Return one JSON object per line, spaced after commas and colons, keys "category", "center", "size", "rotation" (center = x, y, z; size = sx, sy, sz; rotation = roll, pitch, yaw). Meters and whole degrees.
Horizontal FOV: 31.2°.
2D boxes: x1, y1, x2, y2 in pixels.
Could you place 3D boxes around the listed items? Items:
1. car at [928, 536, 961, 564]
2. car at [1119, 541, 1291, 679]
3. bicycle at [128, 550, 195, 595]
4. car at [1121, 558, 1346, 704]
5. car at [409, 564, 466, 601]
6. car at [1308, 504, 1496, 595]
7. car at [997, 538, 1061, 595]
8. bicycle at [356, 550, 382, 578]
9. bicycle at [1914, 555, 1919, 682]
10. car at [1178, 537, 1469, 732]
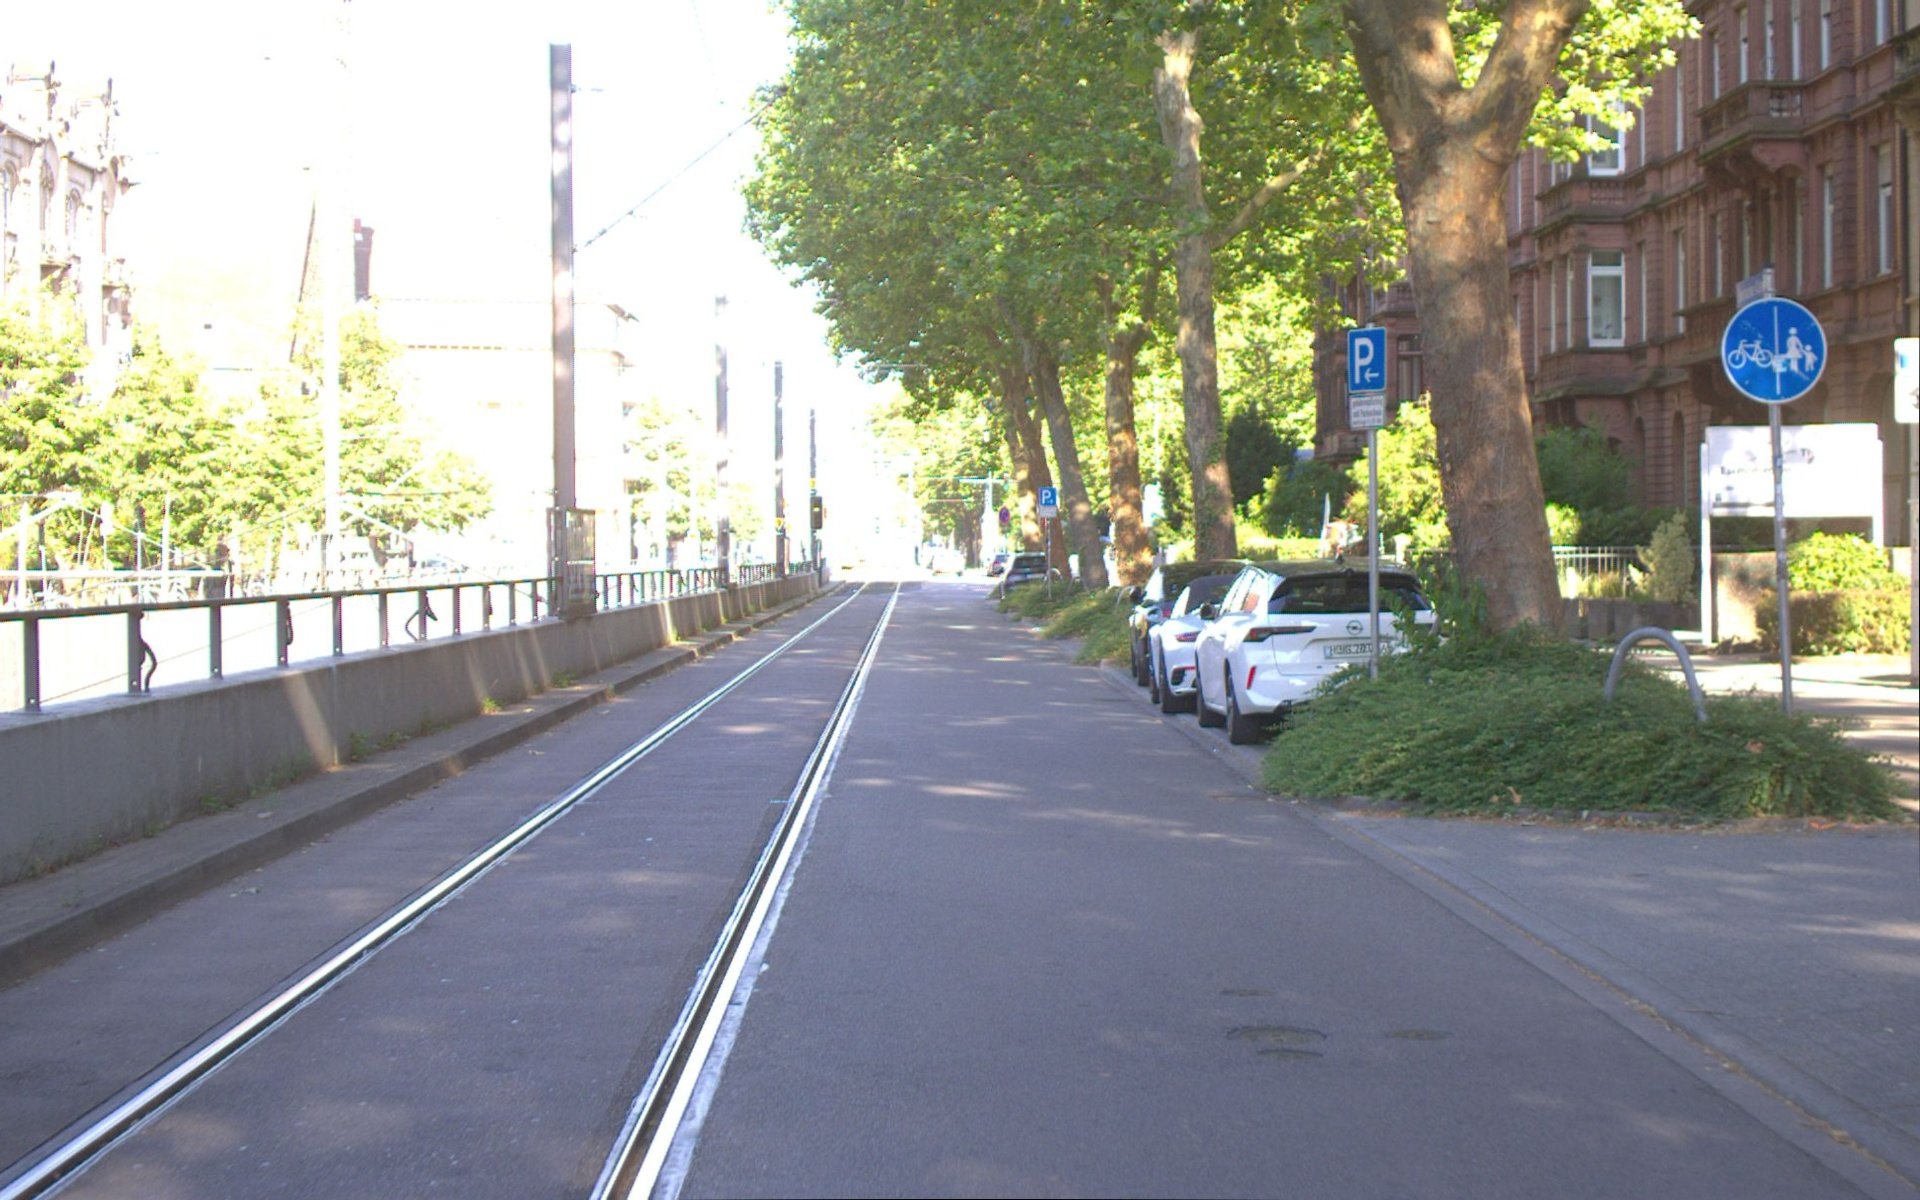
{"category": "car", "center": [-0.890, -2.856, 195.872], "size": [1.745, 1.457, 3.645], "rotation": [3, 1, -2]}
{"category": "car", "center": [2.828, 0.074, 40.566], "size": [1.732, 1.531, 4.805], "rotation": [0, 1, 1]}
{"category": "bicycle", "center": [-22.576, -0.785, 97.195], "size": [1.731, 1.275, 0.599], "rotation": [0, 1, 6]}
{"category": "car", "center": [2.609, 0.259, 33.583], "size": [1.830, 1.322, 4.000], "rotation": [0, 1, -1]}
{"category": "car", "center": [-23.435, -0.809, 154.210], "size": [1.716, 1.550, 4.510], "rotation": [3, 1, 1]}
{"category": "car", "center": [10.699, -1.228, 83.413], "size": [4.175, 2.007, 2.000], "rotation": [-2, 1, -2]}
{"category": "car", "center": [1.949, -0.968, 98.076], "size": [1.616, 1.582, 4.417], "rotation": [-1, 1, -1]}
{"category": "bicycle", "center": [-23.070, -1.395, 134.135], "size": [0.485, 1.019, 1.894], "rotation": [2, 1, -24]}
{"category": "bicycle", "center": [8.850, 0.178, 29.973], "size": [0.475, 1.139, 1.896], "rotation": [-2, 1, -1]}
{"category": "car", "center": [2.902, 0.227, 28.361], "size": [1.802, 1.472, 4.647], "rotation": [0, 1, -1]}
